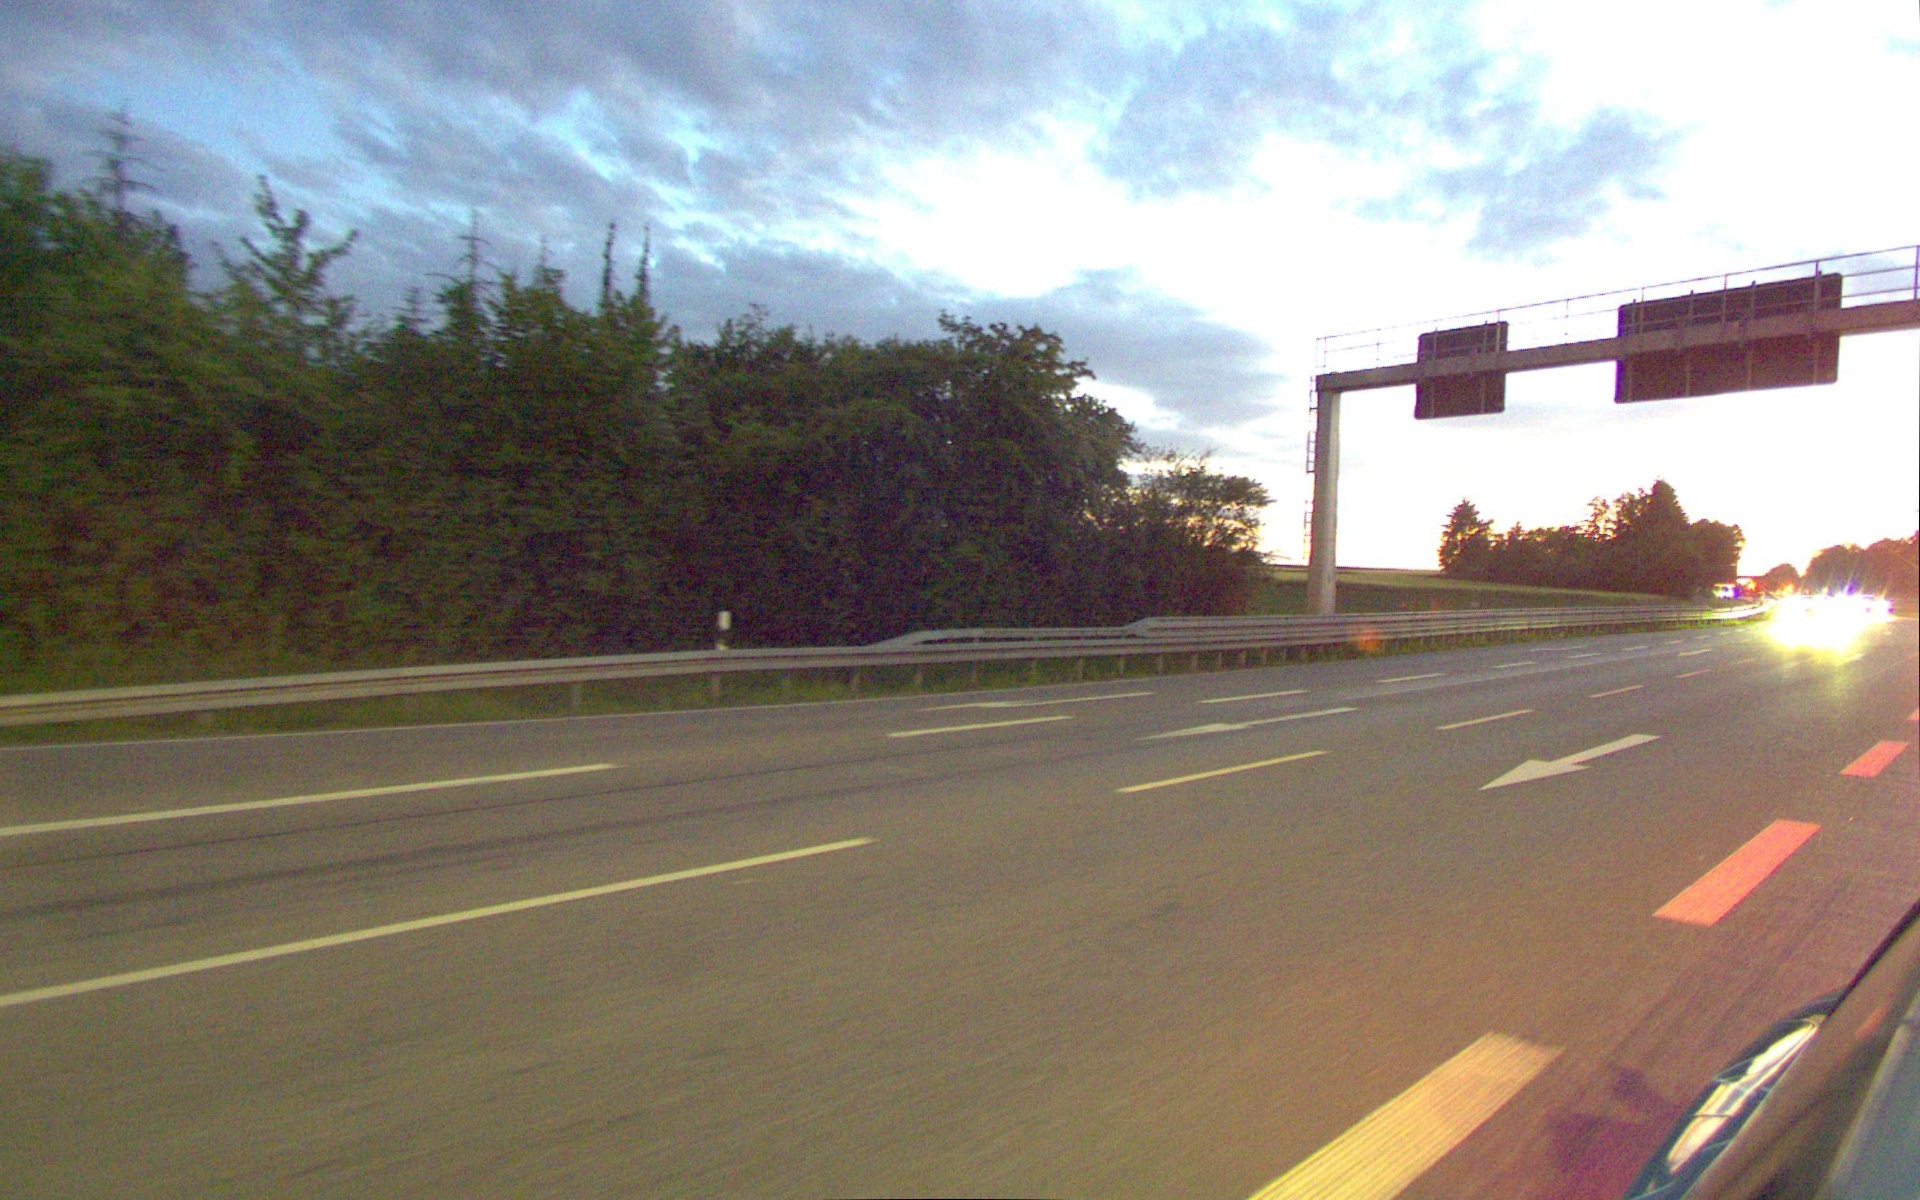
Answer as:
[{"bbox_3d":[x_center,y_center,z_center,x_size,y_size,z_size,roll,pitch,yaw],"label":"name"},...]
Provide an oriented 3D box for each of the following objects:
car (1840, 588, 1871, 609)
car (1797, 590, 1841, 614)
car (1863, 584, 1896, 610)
[{"bbox_3d":[78.919,-0.128,89.240,1.824,1.772,3.796,-1,-1,39],"label":"car"},{"bbox_3d":[57.631,0.120,67.878,1.993,1.604,3.937,0,0,44],"label":"car"},{"bbox_3d":[71.753,-0.246,78.944,1.857,2.039,3.937,-1,0,43],"label":"car"}]
